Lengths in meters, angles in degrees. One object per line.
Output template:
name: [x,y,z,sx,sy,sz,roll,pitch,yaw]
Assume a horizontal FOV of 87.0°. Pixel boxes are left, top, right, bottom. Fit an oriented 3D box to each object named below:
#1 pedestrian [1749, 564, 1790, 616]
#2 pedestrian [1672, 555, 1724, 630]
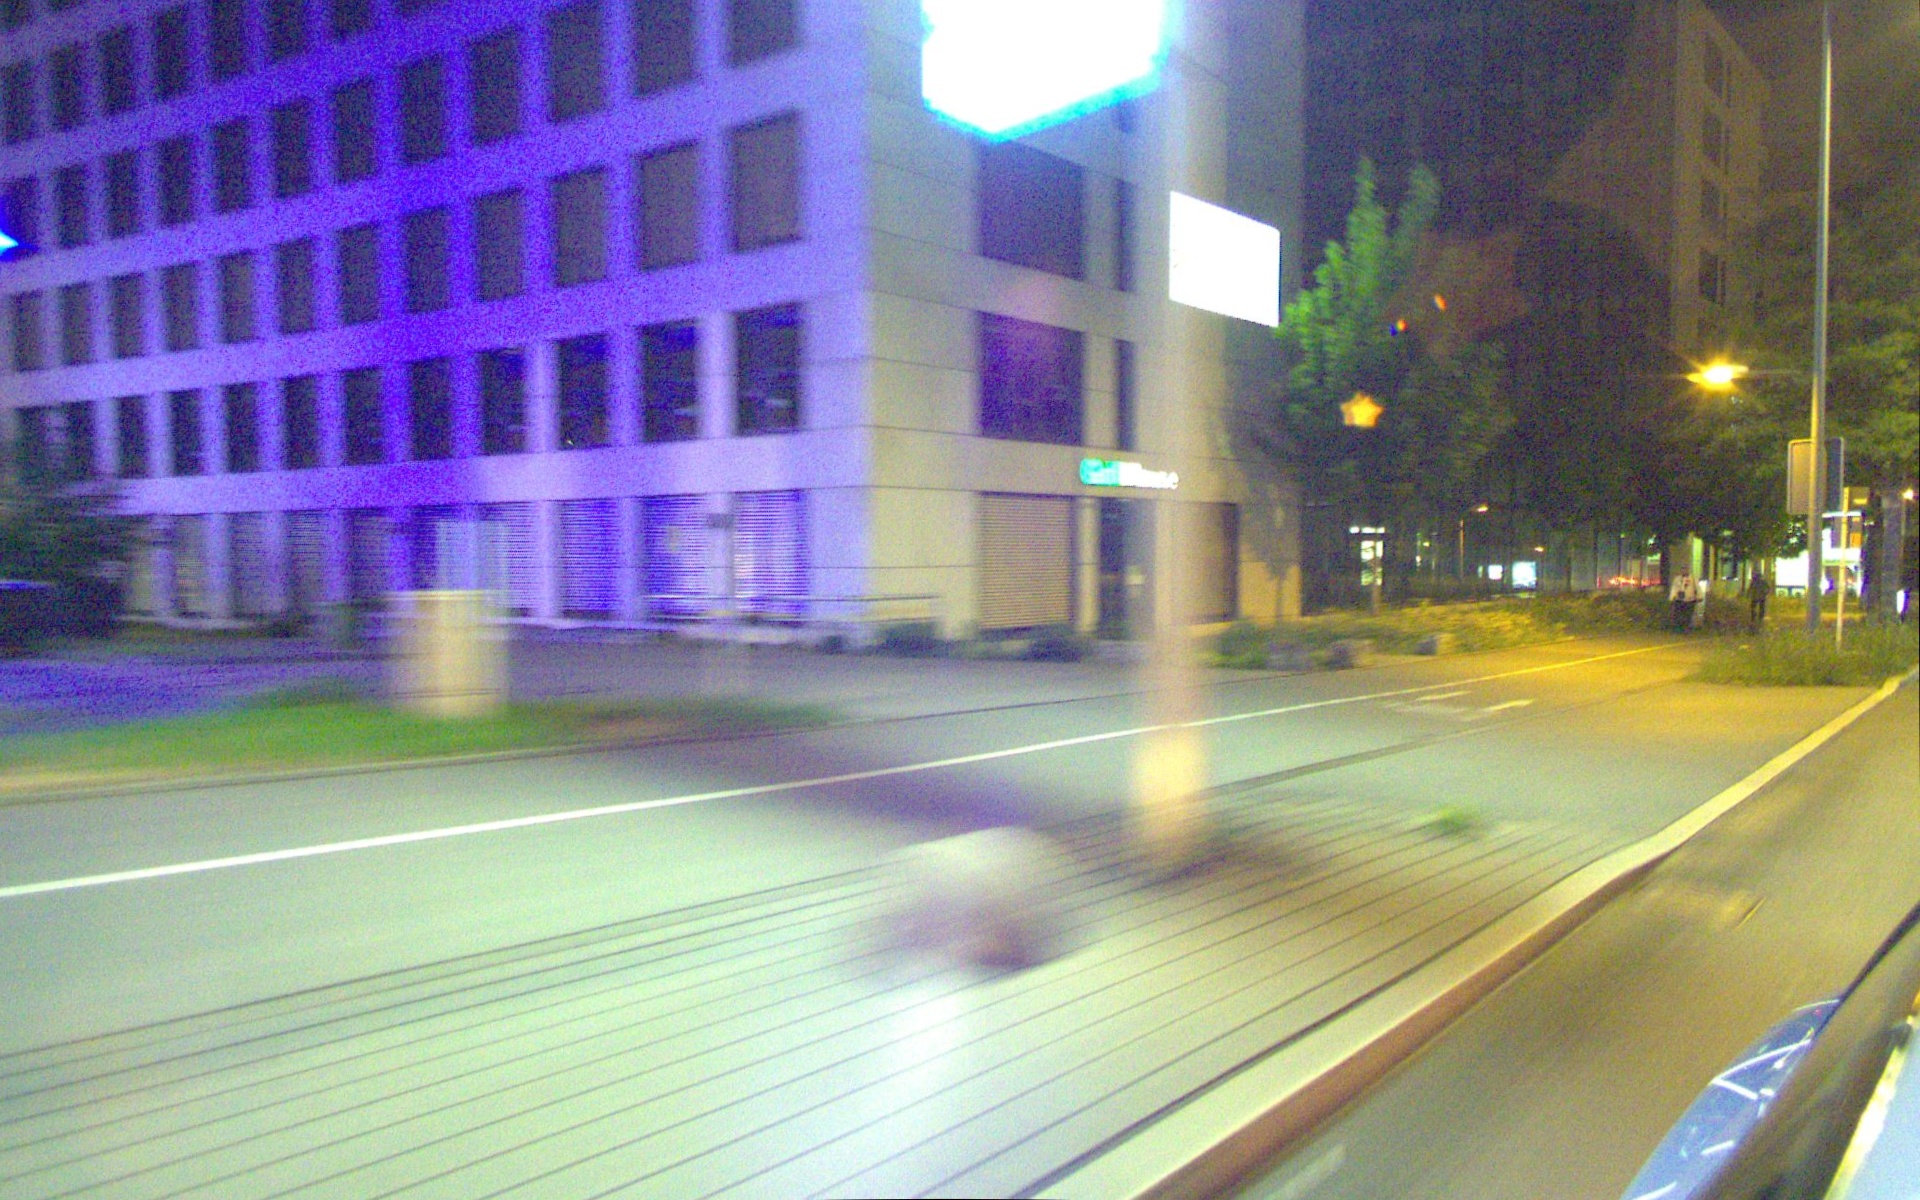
pedestrian: [27.978,-0.348,34.978,0.941,1.727,0.854,-1,5,-41]
pedestrian: [19.688,-0.224,27.003,0.778,1.936,0.808,0,4,-32]
